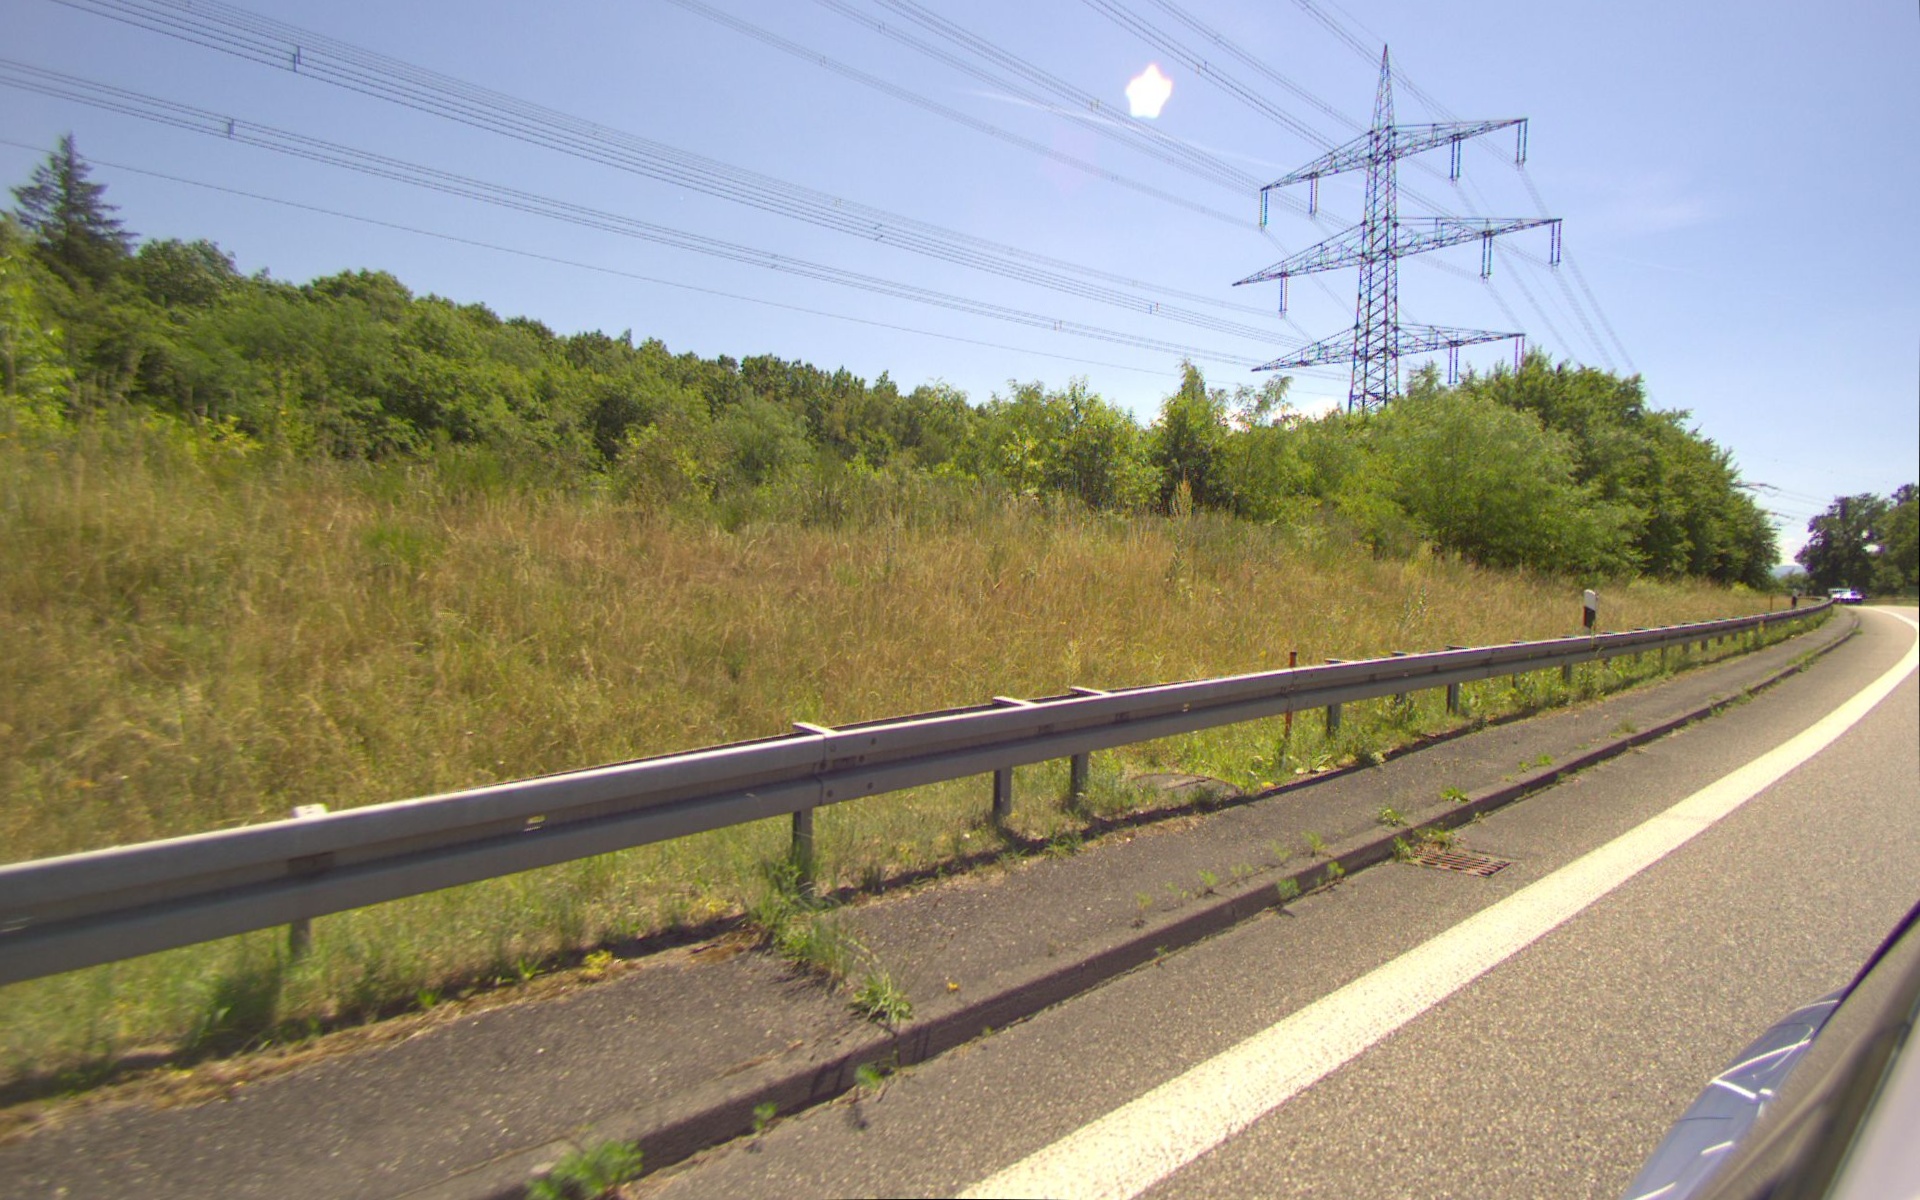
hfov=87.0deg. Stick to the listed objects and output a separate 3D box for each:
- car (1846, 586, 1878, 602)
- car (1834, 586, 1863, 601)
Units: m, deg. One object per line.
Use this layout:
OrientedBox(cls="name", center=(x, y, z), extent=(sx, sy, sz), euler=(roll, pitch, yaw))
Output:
OrientedBox(cls="car", center=(96.857, -0.643, 108.696), extent=(1.985, 1.705, 3.953), euler=(1, 0, 33))
OrientedBox(cls="car", center=(107.466, -0.768, 122.422), extent=(1.985, 1.705, 3.953), euler=(1, 0, 33))
